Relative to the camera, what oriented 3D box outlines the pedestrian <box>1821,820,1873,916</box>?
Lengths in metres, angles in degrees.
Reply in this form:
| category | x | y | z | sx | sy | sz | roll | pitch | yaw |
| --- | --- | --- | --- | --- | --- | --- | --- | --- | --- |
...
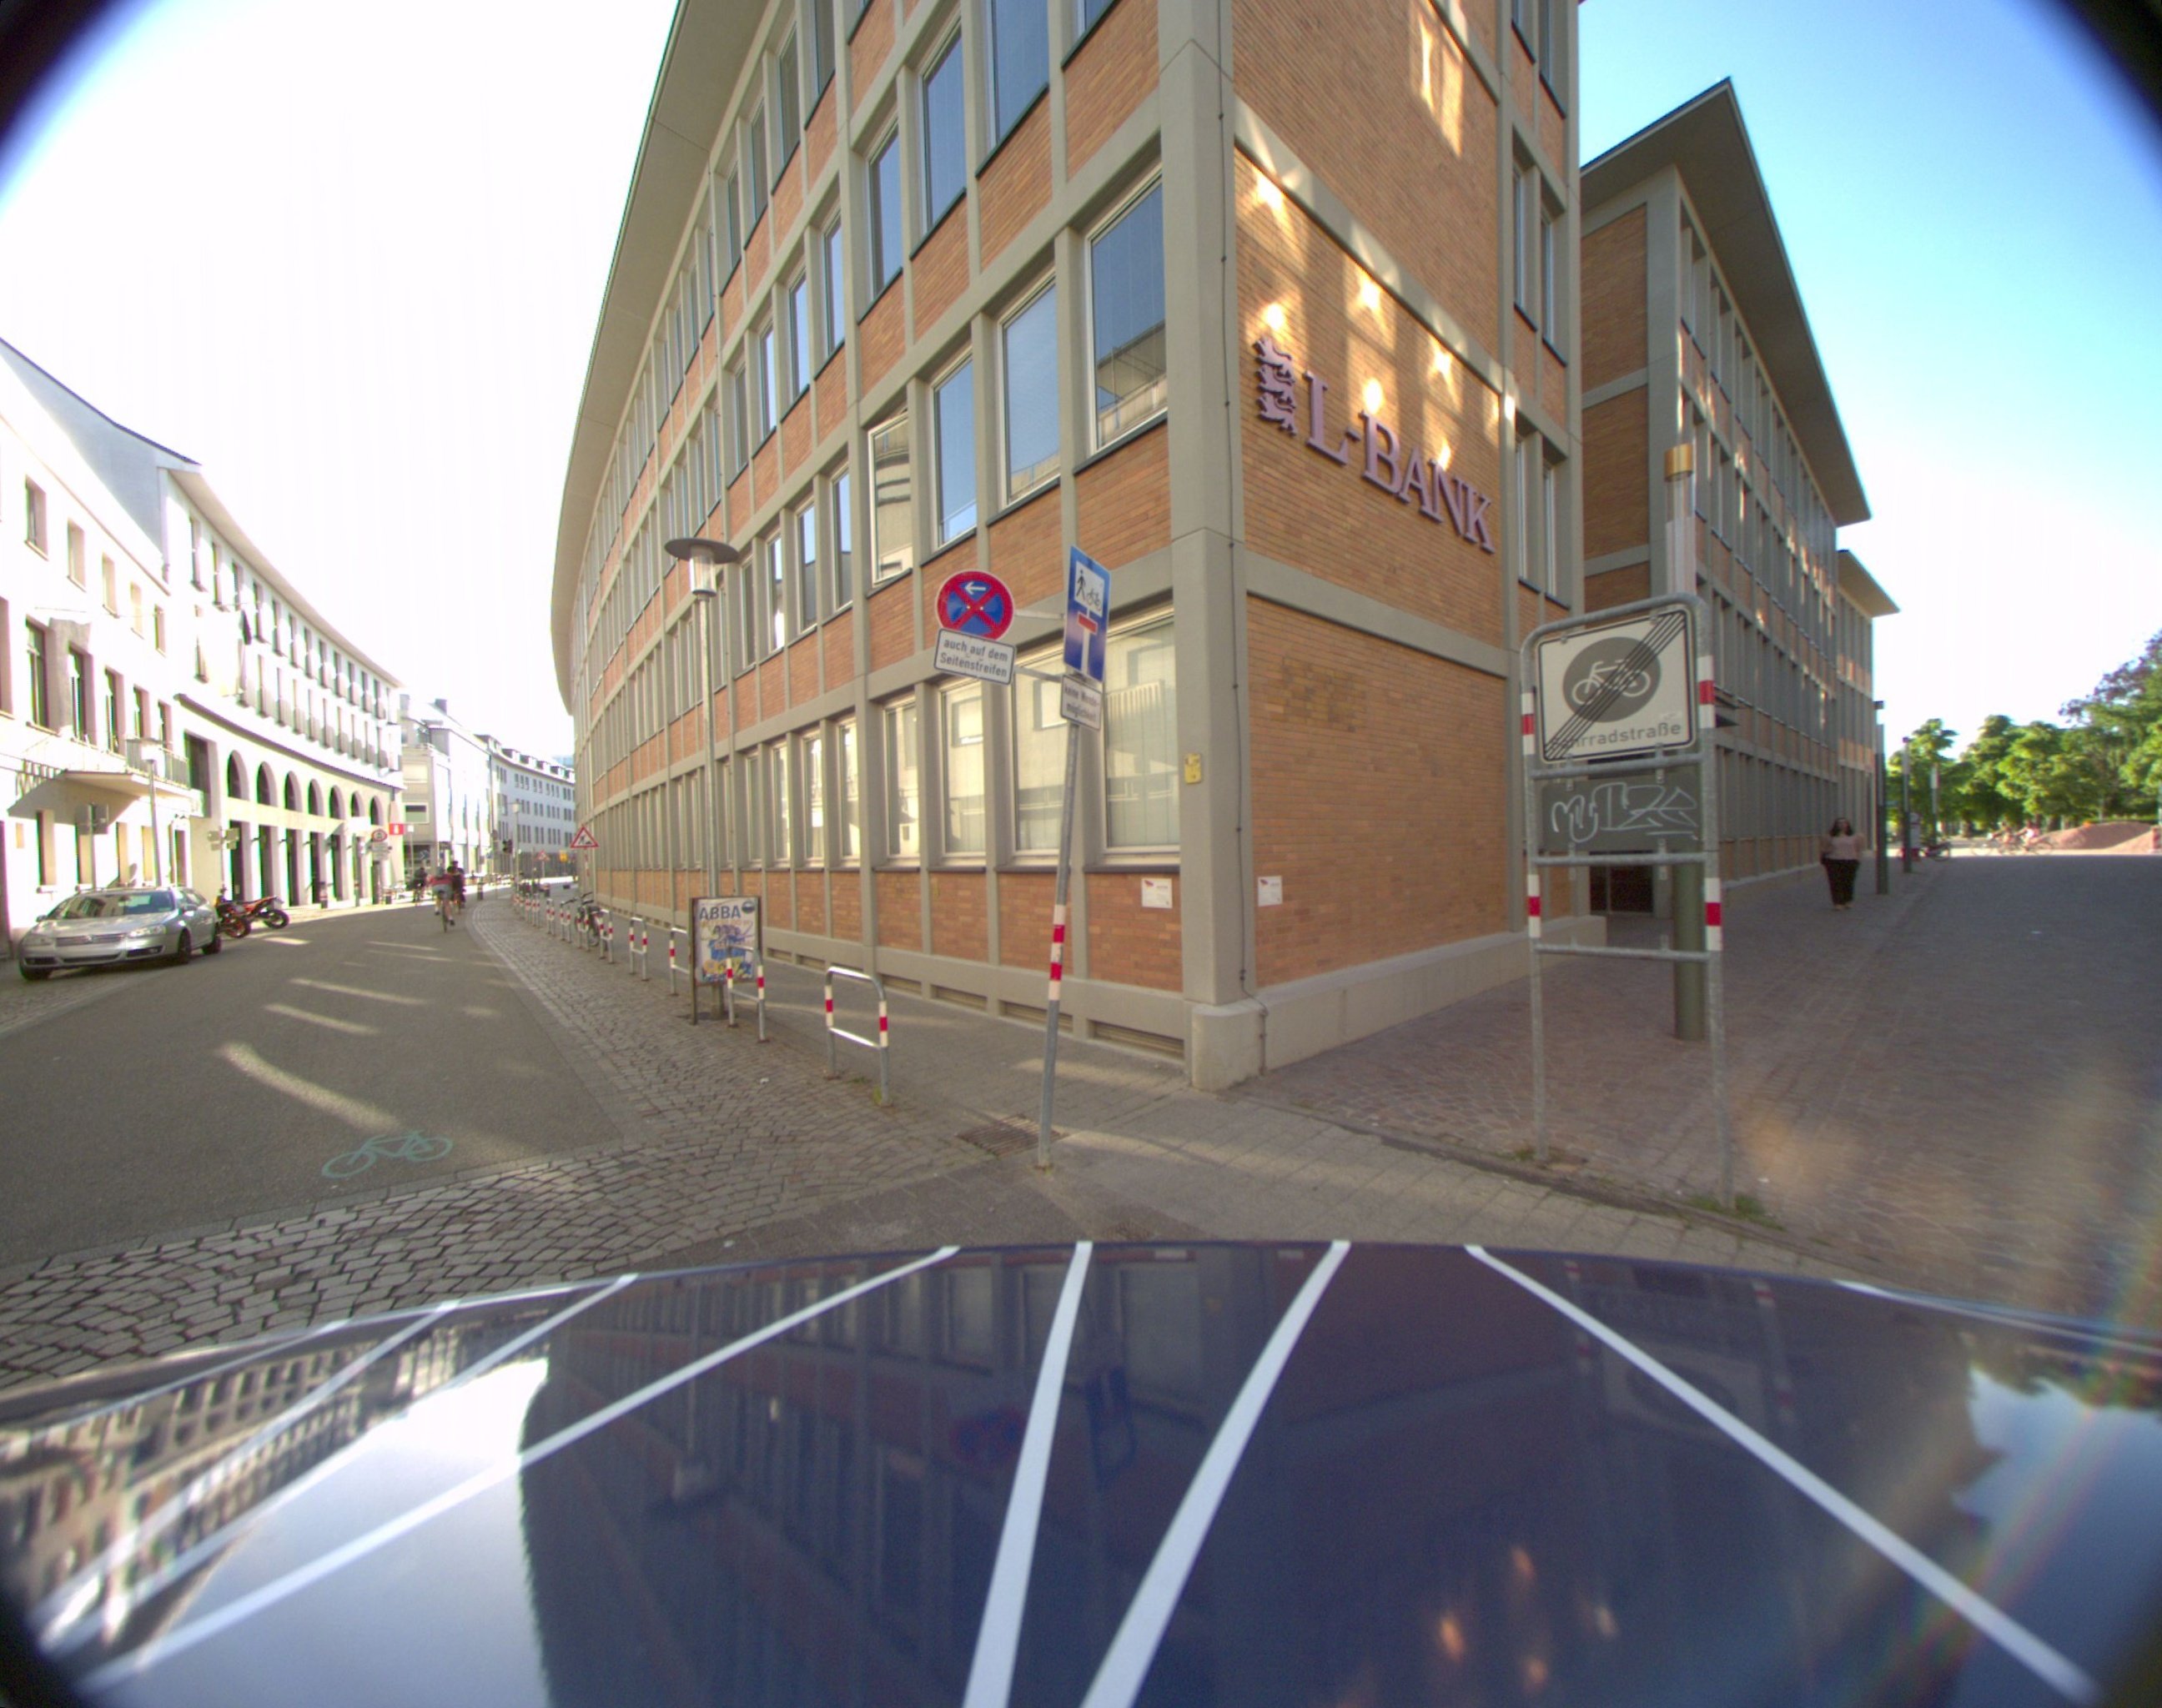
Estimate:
| category | x | y | z | sx | sy | sz | roll | pitch | yaw |
| --- | --- | --- | --- | --- | --- | --- | --- | --- | --- |
| pedestrian | 14.516 | 0.260 | 14.401 | 0.653 | 1.775 | 0.637 | 0 | 0 | -41 |

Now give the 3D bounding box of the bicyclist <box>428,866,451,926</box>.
| category | x | y | z | sx | sy | sz | roll | pitch | yaw |
| --- | --- | --- | --- | --- | --- | --- | --- | --- | --- |
| bicyclist | -16.233 | 1.048 | 19.238 | 0.429 | 1.489 | 0.873 | -1 | 1 | -39 |

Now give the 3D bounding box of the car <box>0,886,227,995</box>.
| category | x | y | z | sx | sy | sz | roll | pitch | yaw |
| --- | --- | --- | --- | --- | --- | --- | --- | --- | --- |
| car | -17.410 | 1.435 | 13.876 | 1.774 | 1.462 | 3.802 | -5 | 3 | -40 |

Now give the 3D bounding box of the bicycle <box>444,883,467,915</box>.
| category | x | y | z | sx | sy | sz | roll | pitch | yaw |
| --- | --- | --- | --- | --- | --- | --- | --- | --- | --- |
| bicycle | -22.145 | 1.587 | 26.889 | 0.592 | 1.045 | 1.796 | -1 | 0 | -41 |

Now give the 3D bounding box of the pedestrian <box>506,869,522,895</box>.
| category | x | y | z | sx | sy | sz | roll | pitch | yaw |
| --- | --- | --- | --- | --- | --- | --- | --- | --- | --- |
| pedestrian | -32.837 | 1.626 | 44.008 | 0.661 | 1.433 | 0.594 | -3 | 2 | -38 |

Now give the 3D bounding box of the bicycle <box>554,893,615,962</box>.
| category | x | y | z | sx | sy | sz | roll | pitch | yaw |
| --- | --- | --- | --- | --- | --- | --- | --- | --- | --- |
| bicycle | -9.282 | 1.337 | 14.182 | 0.639 | 1.110 | 1.925 | -3 | 2 | -41 |

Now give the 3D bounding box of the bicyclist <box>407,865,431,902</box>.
| category | x | y | z | sx | sy | sz | roll | pitch | yaw |
| --- | --- | --- | --- | --- | --- | --- | --- | --- | --- |
| bicyclist | -28.494 | 1.250 | 32.727 | 0.651 | 1.550 | 1.107 | -4 | 2 | -38 |

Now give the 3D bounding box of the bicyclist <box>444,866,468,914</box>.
| category | x | y | z | sx | sy | sz | roll | pitch | yaw |
| --- | --- | --- | --- | --- | --- | --- | --- | --- | --- |
| bicyclist | -22.064 | 1.245 | 26.812 | 0.621 | 1.657 | 0.821 | 0 | 0 | -41 |

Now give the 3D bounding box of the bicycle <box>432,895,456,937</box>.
| category | x | y | z | sx | sy | sz | roll | pitch | yaw |
| --- | --- | --- | --- | --- | --- | --- | --- | --- | --- |
| bicycle | -16.054 | 1.541 | 19.134 | 0.437 | 0.951 | 1.586 | 1 | -1 | -41 |

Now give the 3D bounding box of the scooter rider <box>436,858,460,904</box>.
| category | x | y | z | sx | sy | sz | roll | pitch | yaw |
| --- | --- | --- | --- | --- | --- | --- | --- | --- | --- |
| scooter rider | -24.807 | 1.048 | 29.779 | 0.650 | 1.716 | 0.700 | -3 | 3 | -39 |

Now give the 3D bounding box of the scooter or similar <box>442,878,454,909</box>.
| category | x | y | z | sx | sy | sz | roll | pitch | yaw |
| --- | --- | --- | --- | --- | --- | --- | --- | --- | --- |
| scooter or similar | -24.726 | 1.544 | 29.689 | 0.338 | 1.178 | 1.276 | 0 | -2 | -39 |

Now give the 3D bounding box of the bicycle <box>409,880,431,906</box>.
| category | x | y | z | sx | sy | sz | roll | pitch | yaw |
| --- | --- | --- | --- | --- | --- | --- | --- | --- | --- |
| bicycle | -28.509 | 1.671 | 32.782 | 0.575 | 1.045 | 1.831 | -3 | 1 | -38 |
